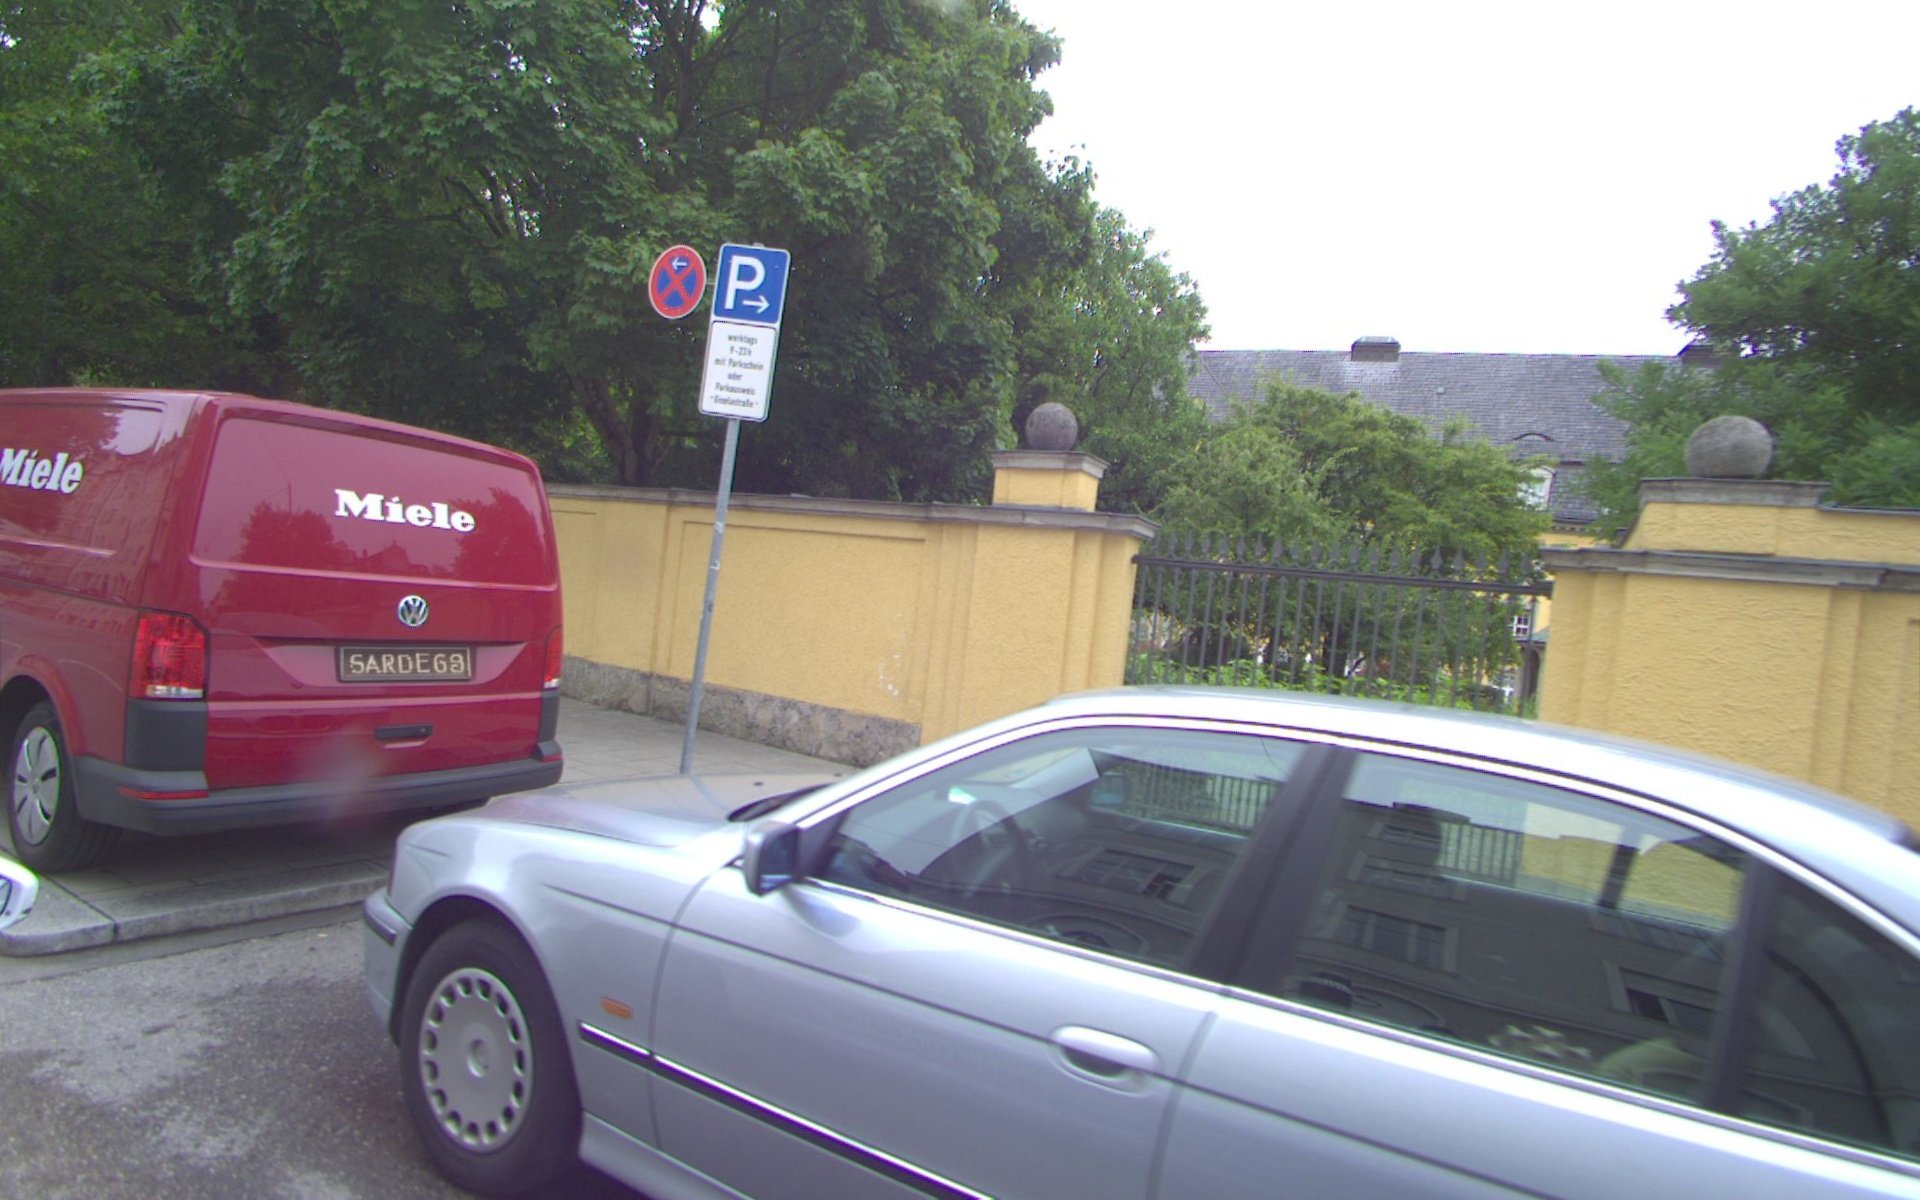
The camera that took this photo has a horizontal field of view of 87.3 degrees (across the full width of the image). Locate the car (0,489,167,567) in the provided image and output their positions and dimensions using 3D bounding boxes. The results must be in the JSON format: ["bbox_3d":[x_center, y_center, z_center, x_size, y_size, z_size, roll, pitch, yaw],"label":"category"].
[{"bbox_3d":[-29.195,-2.335,32.828,1.802,1.941,4.848,5,-1,22],"label":"car"}]

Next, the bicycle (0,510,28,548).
[{"bbox_3d":[-31.556,-2.380,32.760,1.796,1.163,0.537,7,1,0],"label":"bicycle"}]

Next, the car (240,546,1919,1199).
[{"bbox_3d":[0.442,0.880,2.560,4.293,1.465,1.890,6,-2,28],"label":"car"}]

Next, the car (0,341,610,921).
[{"bbox_3d":[-4.369,-0.037,5.375,4.805,1.943,1.878,6,-1,30],"label":"car"}]
